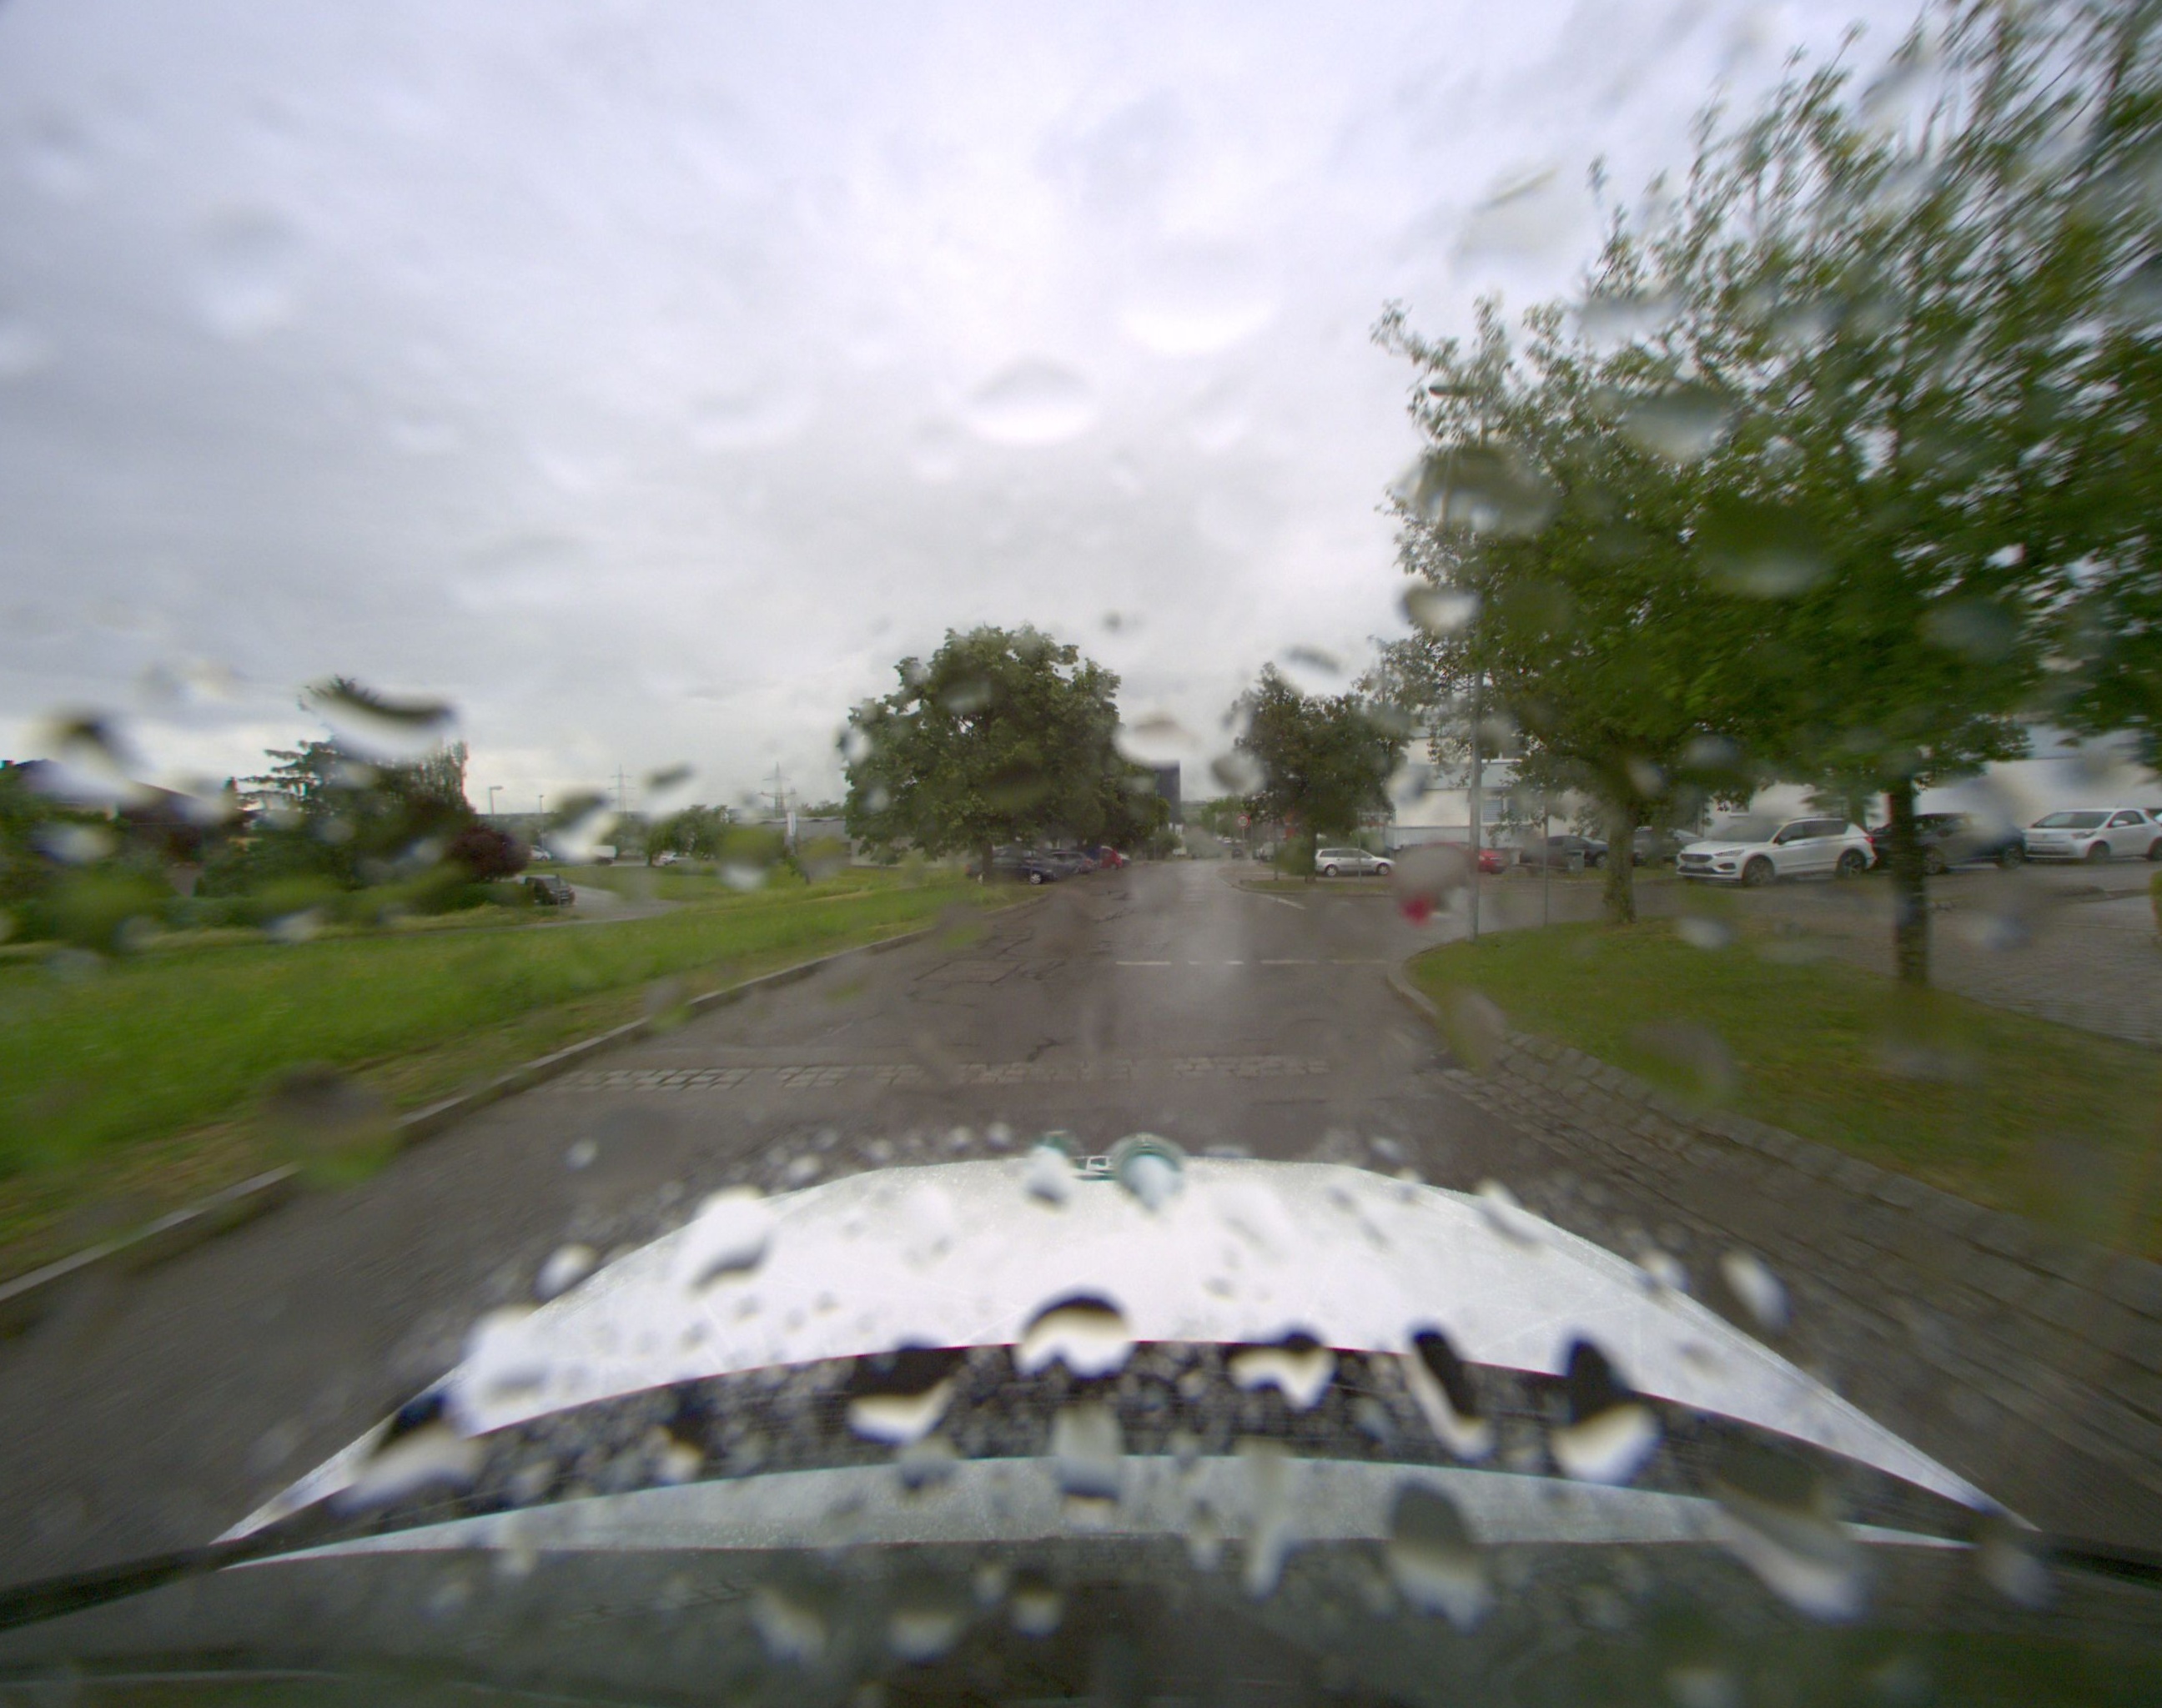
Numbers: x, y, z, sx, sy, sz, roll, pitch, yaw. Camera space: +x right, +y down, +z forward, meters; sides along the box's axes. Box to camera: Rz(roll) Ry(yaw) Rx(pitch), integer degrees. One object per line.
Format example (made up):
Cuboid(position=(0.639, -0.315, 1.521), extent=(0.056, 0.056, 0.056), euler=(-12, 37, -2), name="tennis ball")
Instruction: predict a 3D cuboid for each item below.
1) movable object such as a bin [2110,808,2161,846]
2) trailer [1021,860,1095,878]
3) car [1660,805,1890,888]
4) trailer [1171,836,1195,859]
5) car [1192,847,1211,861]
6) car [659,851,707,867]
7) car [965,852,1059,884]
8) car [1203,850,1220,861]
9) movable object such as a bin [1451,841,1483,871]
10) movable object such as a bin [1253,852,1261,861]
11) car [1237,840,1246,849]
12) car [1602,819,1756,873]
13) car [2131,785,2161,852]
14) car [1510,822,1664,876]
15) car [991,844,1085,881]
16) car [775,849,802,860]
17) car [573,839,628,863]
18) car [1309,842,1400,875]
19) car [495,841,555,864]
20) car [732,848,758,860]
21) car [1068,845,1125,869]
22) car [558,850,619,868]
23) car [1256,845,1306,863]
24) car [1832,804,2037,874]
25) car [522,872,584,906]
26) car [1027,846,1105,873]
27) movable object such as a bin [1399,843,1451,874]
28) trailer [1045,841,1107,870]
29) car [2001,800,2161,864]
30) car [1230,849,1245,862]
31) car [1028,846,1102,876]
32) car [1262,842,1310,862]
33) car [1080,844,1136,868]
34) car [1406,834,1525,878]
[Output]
Cuboid(position=(47.417, -1.210, 36.421), extent=(1.726, 1.662, 0.545), euler=(-2, -1, 14), name="movable object such as a bin")
Cuboid(position=(-1.270, 0.831, 46.431), extent=(3.918, 0.961, 2.005), euler=(0, 1, 9), name="trailer")
Cuboid(position=(17.937, -0.204, 21.148), extent=(4.698, 1.814, 1.941), euler=(-3, 0, -9), name="car")
Cuboid(position=(18.963, -1.148, 151.302), extent=(2.016, 4.203, 4.139), euler=(-2, 0, -38), name="trailer")
Cuboid(position=(15.921, -0.011, 107.810), extent=(1.901, 1.831, 4.867), euler=(-1, 0, 15), name="car")
Cuboid(position=(-49.009, 0.626, 100.324), extent=(2.261, 1.648, 4.649), euler=(-3, 0, 39), name="car")
Cuboid(position=(-3.199, 0.643, 38.544), extent=(4.194, 1.431, 1.775), euler=(0, -1, 3), name="car")
Cuboid(position=(19.593, 0.201, 122.045), extent=(1.942, 1.461, 5.267), euler=(-1, 0, 14), name="car")
Cuboid(position=(20.131, 0.109, 42.514), extent=(1.296, 1.495, 1.033), euler=(-3, 0, 13), name="movable object such as a bin")
Cuboid(position=(20.437, 0.246, 94.561), extent=(0.766, 1.030, 0.811), euler=(-1, 0, 15), name="movable object such as a bin")
Cuboid(position=(45.644, -2.696, 231.857), extent=(2.182, 2.459, 4.006), euler=(-1, -1, 5), name="car")
Cuboid(position=(23.111, -0.227, 31.694), extent=(1.863, 1.798, 4.419), euler=(1, -4, -28), name="car")
Cuboid(position=(33.157, -1.058, 23.270), extent=(4.405, 1.928, 1.927), euler=(-1, 1, -8), name="car")
Cuboid(position=(19.671, -0.135, 31.938), extent=(1.862, 1.585, 4.788), euler=(-1, -5, -26), name="car")
Cuboid(position=(-2.131, 0.434, 41.075), extent=(4.344, 1.722, 2.049), euler=(-1, -1, 7), name="car")
Cuboid(position=(-43.975, 0.048, 122.314), extent=(3.949, 1.618, 2.013), euler=(-1, 0, 40), name="car")
Cuboid(position=(-74.245, -0.475, 125.866), extent=(2.511, 3.425, 6.773), euler=(-3, 0, 39), name="car")
Cuboid(position=(14.286, 0.250, 42.772), extent=(4.285, 1.584, 1.864), euler=(-1, -1, 10), name="car")
Cuboid(position=(-68.237, -0.187, 100.080), extent=(1.974, 2.701, 5.849), euler=(0, 1, 32), name="car")
Cuboid(position=(-48.471, 0.038, 117.411), extent=(3.949, 1.618, 1.823), euler=(-1, 0, 40), name="car")
Cuboid(position=(1.203, 0.262, 62.120), extent=(4.172, 1.722, 1.759), euler=(-1, -1, 8), name="car")
Cuboid(position=(-56.022, 0.568, 92.644), extent=(2.261, 1.975, 5.456), euler=(-3, -2, 39), name="car")
Cuboid(position=(19.676, -0.016, 80.200), extent=(4.564, 1.538, 2.087), euler=(-3, 0, 13), name="car")
Cuboid(position=(22.872, -0.433, 21.886), extent=(4.007, 1.732, 1.949), euler=(-1, 1, -10), name="car")
Cuboid(position=(-37.355, 2.500, 57.605), extent=(4.444, 2.220, 1.942), euler=(-3, 0, 33), name="car")
Cuboid(position=(-0.924, 0.331, 51.676), extent=(4.588, 1.590, 1.812), euler=(1, 0, 11), name="car")
Cuboid(position=(18.053, 0.211, 42.829), extent=(2.250, 1.503, 1.739), euler=(-3, 0, 13), name="movable object such as a bin")
Cuboid(position=(-0.355, 0.110, 59.497), extent=(4.185, 1.984, 1.779), euler=(-1, -1, 11), name="trailer")
Cuboid(position=(28.321, -0.598, 22.657), extent=(3.816, 1.668, 1.829), euler=(-1, 0, -9), name="car")
Cuboid(position=(21.385, 0.245, 111.240), extent=(1.944, 1.675, 4.485), euler=(-1, -1, 10), name="car")
Cuboid(position=(-0.949, 0.389, 49.096), extent=(4.046, 1.721, 2.032), euler=(1, 0, 12), name="car")
Cuboid(position=(19.398, -0.170, 77.352), extent=(4.311, 1.773, 2.096), euler=(-2, 0, 12), name="car")
Cuboid(position=(2.242, 0.165, 67.068), extent=(4.267, 1.906, 1.870), euler=(-2, -1, 16), name="car")
Cuboid(position=(15.752, 0.127, 33.606), extent=(1.860, 1.585, 4.294), euler=(-1, -3, -22), name="car")
